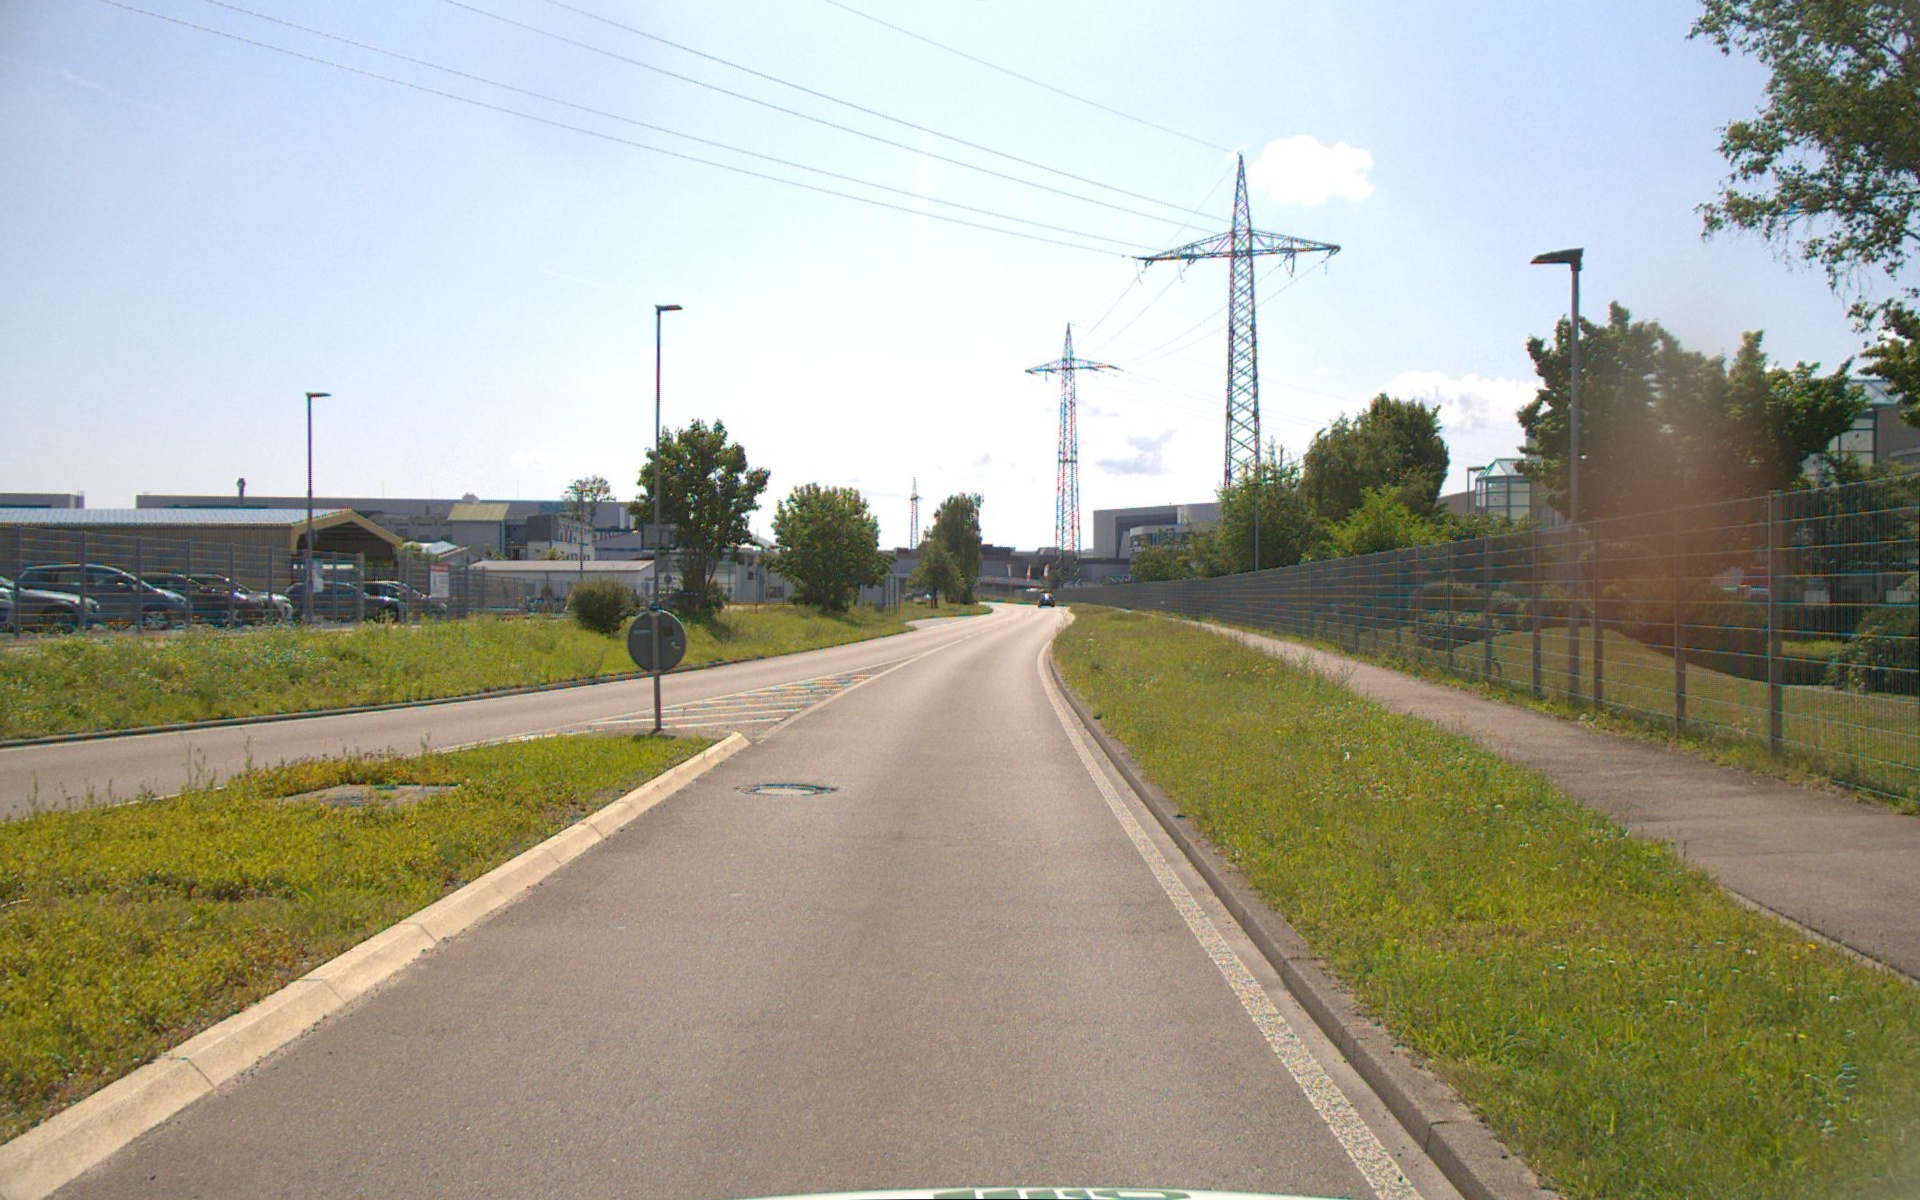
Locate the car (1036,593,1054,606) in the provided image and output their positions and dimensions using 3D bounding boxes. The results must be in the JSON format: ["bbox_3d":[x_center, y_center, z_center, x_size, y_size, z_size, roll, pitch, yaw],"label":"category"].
[{"bbox_3d":[9.754,-0.039,189.426,1.970,1.534,4.001,0,0,1],"label":"car"}]

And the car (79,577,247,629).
[{"bbox_3d":[-21.074,0.074,43.803,3.940,1.333,1.925,0,0,-28],"label":"car"}]

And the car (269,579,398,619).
[{"bbox_3d":[-21.661,-0.034,57.206,3.943,1.333,1.924,0,0,-29],"label":"car"}]

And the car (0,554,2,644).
[{"bbox_3d":[-20.350,-0.011,31.044,4.051,1.734,1.706,0,0,-29],"label":"car"}]

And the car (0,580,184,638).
[{"bbox_3d":[-21.005,0.206,40.026,3.943,1.333,1.924,0,0,-29],"label":"car"}]

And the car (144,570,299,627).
[{"bbox_3d":[-21.173,-0.042,47.420,3.943,1.567,1.924,0,0,-29],"label":"car"}]

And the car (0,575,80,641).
[{"bbox_3d":[-20.508,0.164,34.322,3.943,1.333,1.924,0,0,-29],"label":"car"}]

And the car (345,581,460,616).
[{"bbox_3d":[-21.479,-0.064,63.715,3.943,1.333,1.924,0,0,-29],"label":"car"}]
